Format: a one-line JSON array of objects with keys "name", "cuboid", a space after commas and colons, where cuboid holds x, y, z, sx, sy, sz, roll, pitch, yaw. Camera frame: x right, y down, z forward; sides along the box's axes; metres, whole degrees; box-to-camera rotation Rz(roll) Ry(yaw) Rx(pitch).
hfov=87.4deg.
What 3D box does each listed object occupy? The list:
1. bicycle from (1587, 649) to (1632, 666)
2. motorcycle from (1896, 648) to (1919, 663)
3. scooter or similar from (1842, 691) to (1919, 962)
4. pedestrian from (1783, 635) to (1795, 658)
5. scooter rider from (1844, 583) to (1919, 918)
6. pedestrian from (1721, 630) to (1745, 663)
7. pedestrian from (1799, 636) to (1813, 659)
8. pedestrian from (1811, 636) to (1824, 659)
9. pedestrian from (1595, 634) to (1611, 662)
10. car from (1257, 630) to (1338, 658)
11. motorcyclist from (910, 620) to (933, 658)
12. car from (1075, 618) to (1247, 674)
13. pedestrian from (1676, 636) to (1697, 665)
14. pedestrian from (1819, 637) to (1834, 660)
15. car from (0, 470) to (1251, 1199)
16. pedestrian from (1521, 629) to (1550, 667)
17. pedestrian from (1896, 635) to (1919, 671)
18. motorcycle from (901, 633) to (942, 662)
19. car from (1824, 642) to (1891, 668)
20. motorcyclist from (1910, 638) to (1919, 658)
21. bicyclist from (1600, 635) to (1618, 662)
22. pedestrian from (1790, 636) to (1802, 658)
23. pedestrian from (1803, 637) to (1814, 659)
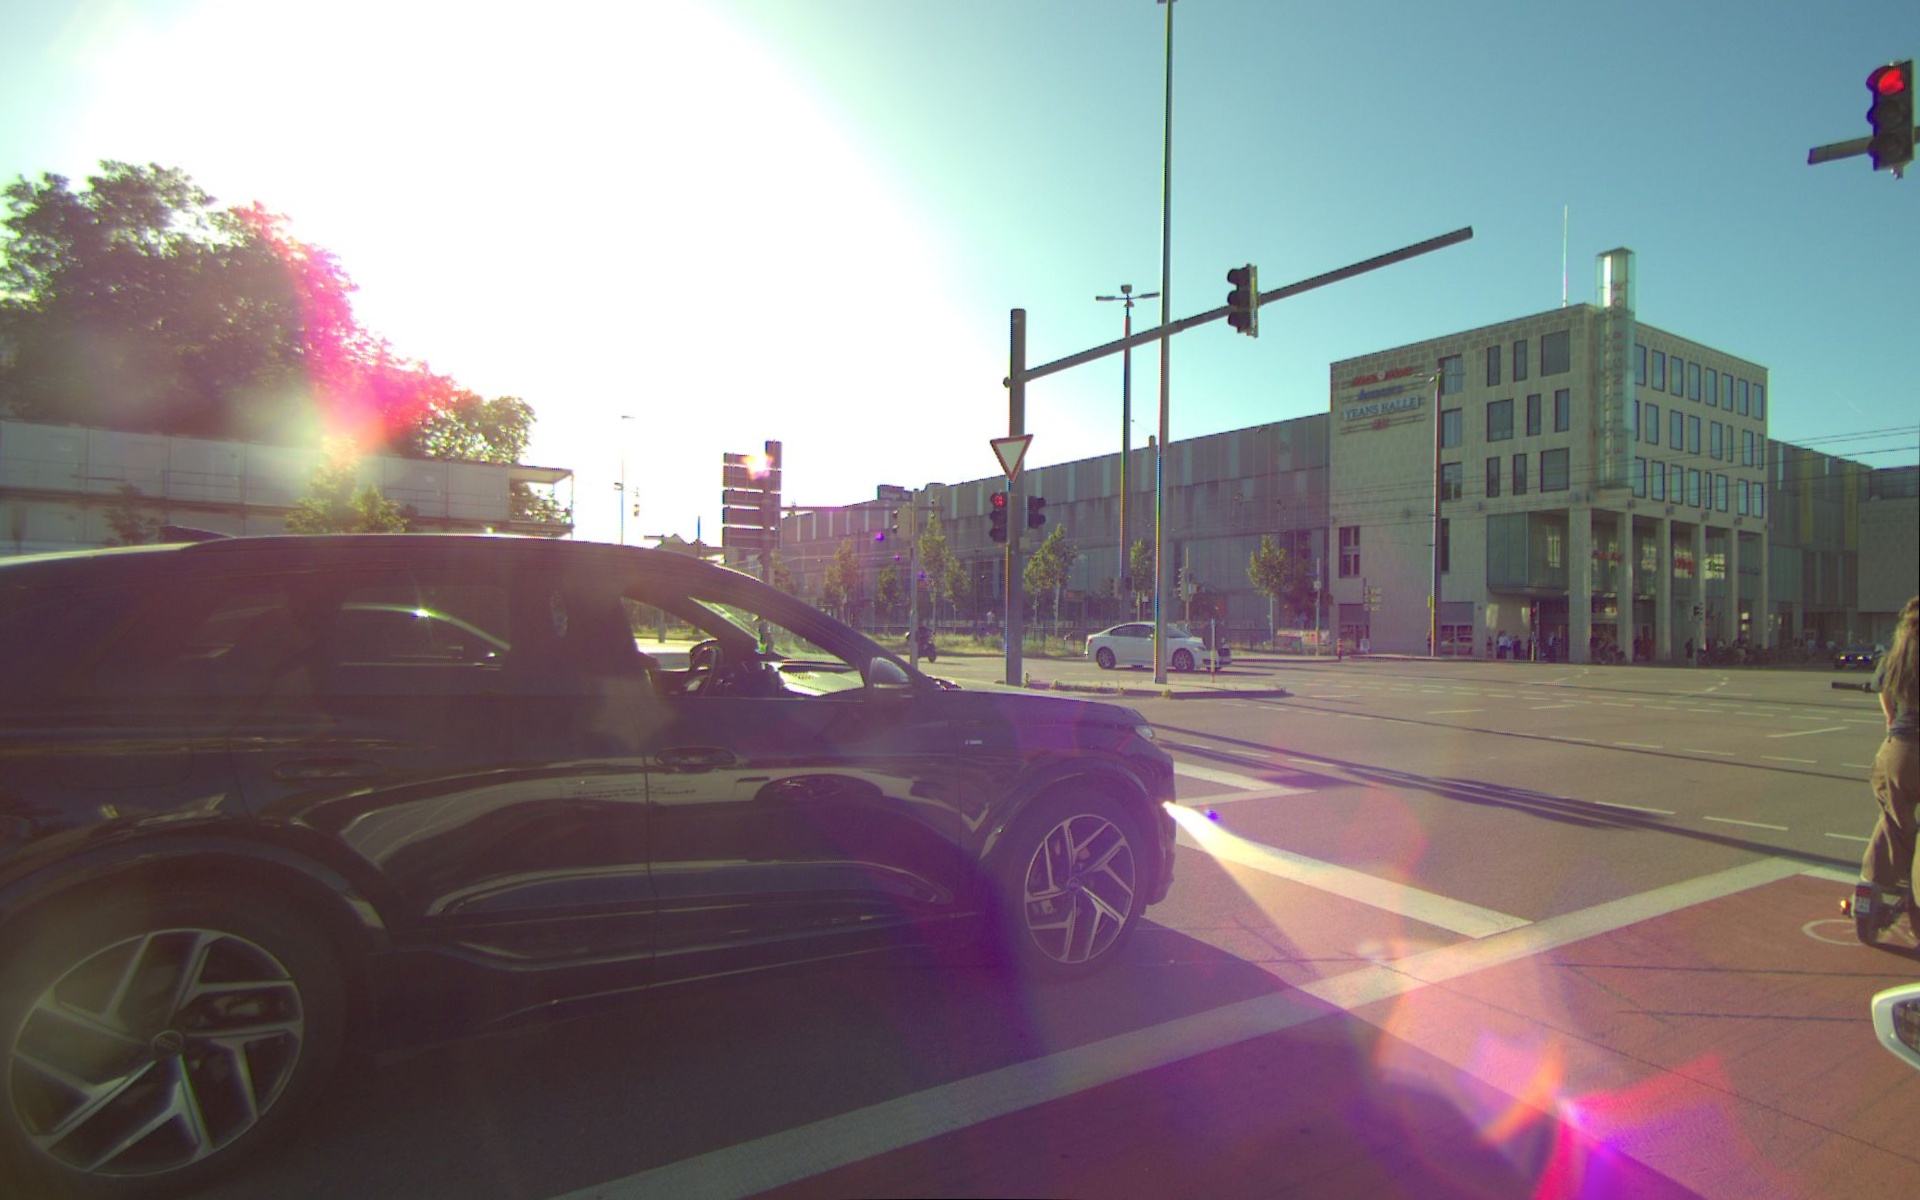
[{"name": "bicycle", "cuboid": [36.094, 3.197, 55.834, 2.176, 0.915, 0.637, 1, -1, -4]}, {"name": "motorcycle", "cuboid": [71.053, 4.156, 74.272, 1.106, 1.006, 2.582, 2, 0, -38]}, {"name": "scooter or similar", "cuboid": [4.388, 1.010, 4.690, 0.832, 1.122, 0.303, 2, -1, -42]}, {"name": "pedestrian", "cuboid": [65.156, 3.674, 78.979, 0.510, 1.752, 0.472, 2, 0, 9]}, {"name": "scooter rider", "cuboid": [4.626, 0.701, 4.787, 0.445, 1.550, 0.548, 1, -1, -38]}, {"name": "pedestrian", "cuboid": [43.854, 2.637, 56.974, 0.529, 1.889, 0.943, 1, -1, -13]}, {"name": "pedestrian", "cuboid": [64.877, 3.661, 77.043, 0.615, 1.752, 0.472, 2, 0, 4]}, {"name": "pedestrian", "cuboid": [67.191, 3.734, 78.701, 0.616, 1.752, 0.471, 2, 0, -1]}, {"name": "pedestrian", "cuboid": [38.280, 2.844, 59.758, 0.622, 1.667, 0.589, 1, -1, -30]}, {"name": "car", "cuboid": [21.424, 2.768, 63.909, 1.807, 1.706, 4.814, 1, -2, -34]}, {"name": "motorcyclist", "cuboid": [-1.519, 1.543, 39.668, 0.594, 1.499, 0.744, 1, -1, -37]}, {"name": "car", "cuboid": [6.092, 1.353, 30.925, 1.985, 1.585, 5.037, 2, -2, -42]}, {"name": "pedestrian", "cuboid": [43.071, 2.987, 59.532, 0.615, 1.660, 0.777, 1, -1, -14]}, {"name": "pedestrian", "cuboid": [66.124, 3.692, 76.676, 0.681, 1.752, 0.472, 2, 0, 9]}, {"name": "car", "cuboid": [-1.247, 0.609, 4.078, 4.613, 1.729, 2.153, 1, 0, -32]}, {"name": "pedestrian", "cuboid": [26.174, 2.193, 45.694, 0.994, 1.697, 0.818, 1, -1, -33]}, {"name": "pedestrian", "cuboid": [46.024, 2.583, 48.777, 0.612, 1.710, 0.697, 1, -1, -29]}, {"name": "motorcycle", "cuboid": [-1.522, 1.865, 39.623, 0.643, 1.115, 1.940, 1, -1, -37]}, {"name": "car", "cuboid": [49.652, 3.013, 55.557, 3.975, 1.375, 1.668, 1, -1, -31]}, {"name": "motorcyclist", "cuboid": [70.935, 3.573, 74.477, 0.657, 1.424, 0.623, 2, 0, -38]}, {"name": "bicyclist", "cuboid": [36.055, 2.703, 55.810, 0.577, 1.467, 0.628, 1, -1, -3]}, {"name": "pedestrian", "cuboid": [66.435, 3.717, 79.834, 0.510, 1.752, 0.472, 2, 0, 9]}, {"name": "pedestrian", "cuboid": [66.979, 3.787, 79.288, 0.510, 1.705, 0.472, 2, 0, 9]}]
